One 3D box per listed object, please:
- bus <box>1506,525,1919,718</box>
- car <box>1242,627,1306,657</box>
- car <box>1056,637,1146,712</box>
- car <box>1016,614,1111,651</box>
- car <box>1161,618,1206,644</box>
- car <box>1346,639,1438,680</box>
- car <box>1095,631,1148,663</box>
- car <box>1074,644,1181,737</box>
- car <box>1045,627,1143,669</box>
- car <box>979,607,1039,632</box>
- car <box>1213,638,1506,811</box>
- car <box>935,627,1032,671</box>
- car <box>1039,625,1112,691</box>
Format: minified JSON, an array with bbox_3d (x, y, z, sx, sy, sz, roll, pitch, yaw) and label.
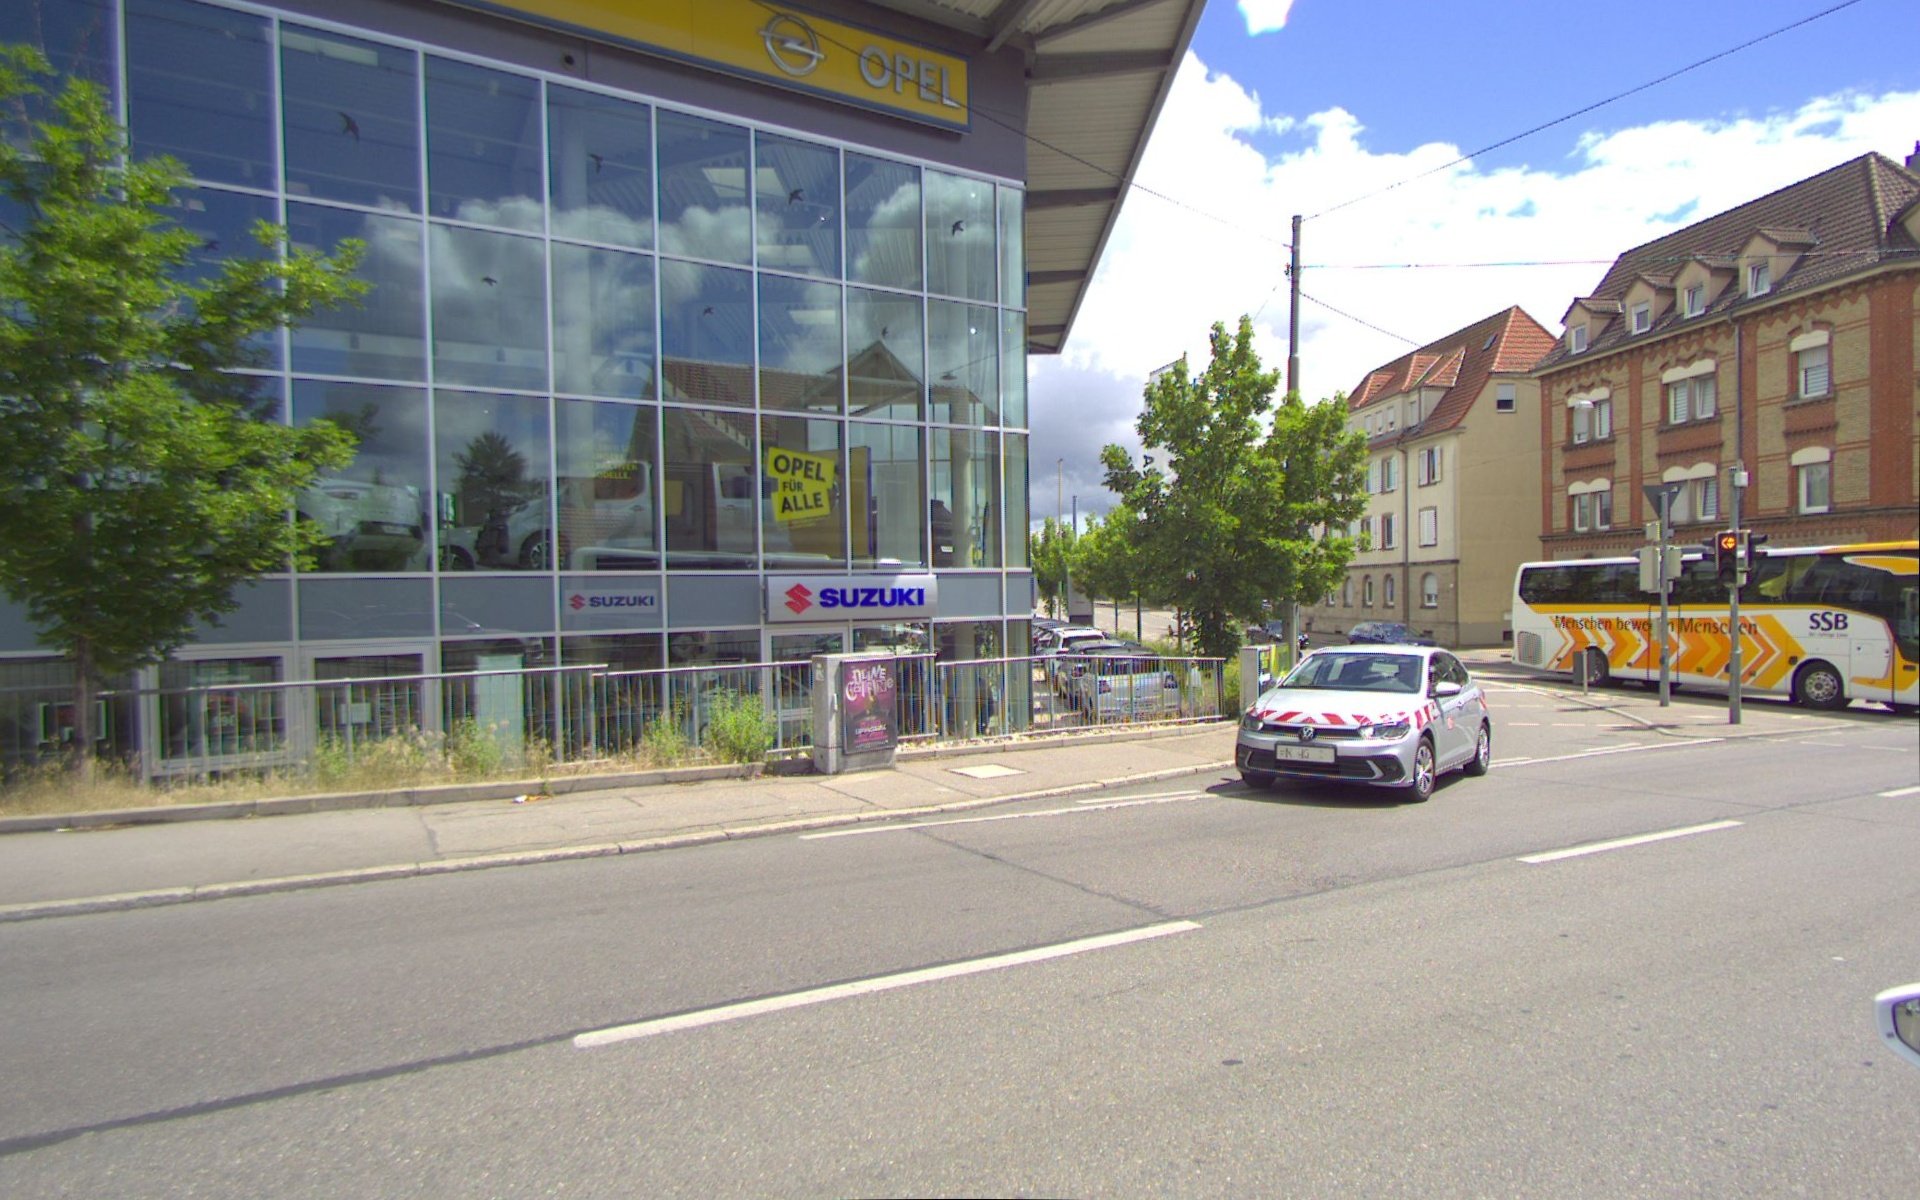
[{"bbox_3d":[18.793,0.478,24.539,2.721,3.670,12.245,1,-1,-9],"label":"bus"},{"bbox_3d":[15.932,2.101,51.185,1.874,1.428,3.999,1,-1,-2],"label":"car"},{"bbox_3d":[3.367,1.753,24.524,1.584,1.547,3.499,-1,0,-2],"label":"car"},{"bbox_3d":[4.632,1.439,45.102,3.925,1.574,1.806,1,-1,-7],"label":"car"},{"bbox_3d":[14.203,1.925,64.114,1.874,1.574,3.999,1,-1,-2],"label":"car"},{"bbox_3d":[16.827,2.293,39.319,1.717,1.428,3.999,1,-1,-3],"label":"car"},{"bbox_3d":[7.855,2.277,49.179,1.766,1.467,3.498,1,-1,-5],"label":"car"},{"bbox_3d":[3.307,1.763,20.391,1.648,1.582,3.365,-1,0,1],"label":"car"},{"bbox_3d":[4.971,1.764,37.477,3.430,1.497,1.800,1,-1,1],"label":"car"},{"bbox_3d":[3.284,1.322,67.559,3.922,1.574,1.807,1,-1,-1],"label":"car"},{"bbox_3d":[4.250,1.169,10.387,1.855,1.436,3.606,-3,-5,38],"label":"car"},{"bbox_3d":[0.830,1.787,36.984,3.432,1.467,1.799,-1,0,-3],"label":"car"},{"bbox_3d":[3.293,1.635,29.273,1.620,1.703,3.499,-1,0,-2],"label":"car"}]
